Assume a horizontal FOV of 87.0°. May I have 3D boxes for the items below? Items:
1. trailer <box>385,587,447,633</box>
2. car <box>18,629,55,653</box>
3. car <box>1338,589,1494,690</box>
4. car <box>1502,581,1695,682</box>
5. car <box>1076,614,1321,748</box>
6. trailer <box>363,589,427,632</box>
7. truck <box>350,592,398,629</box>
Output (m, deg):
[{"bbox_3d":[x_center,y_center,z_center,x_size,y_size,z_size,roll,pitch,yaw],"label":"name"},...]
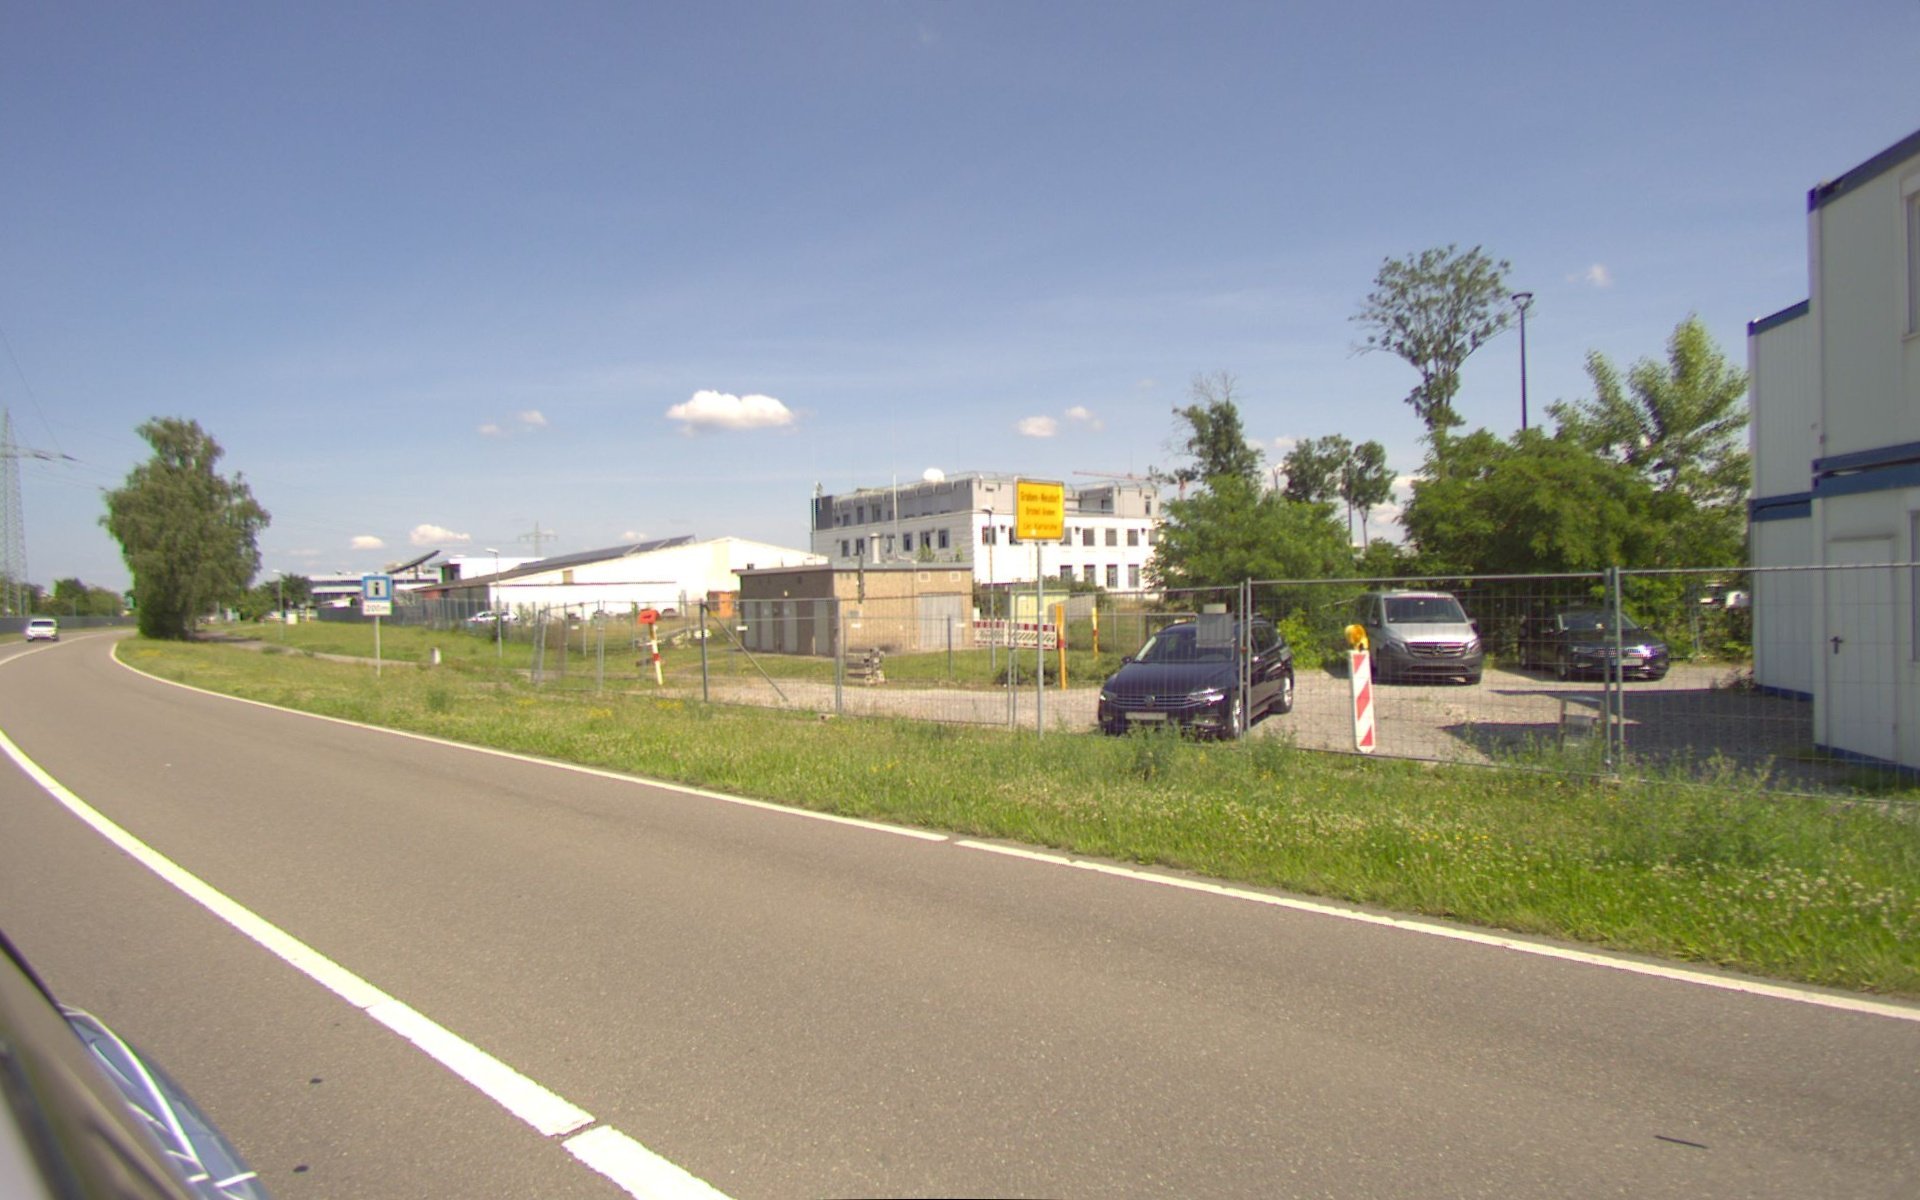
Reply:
[{"bbox_3d":[-46.138,0.850,85.640,3.355,3.672,8.677,0,0,-37],"label":"trailer"},{"bbox_3d":[-73.848,3.241,80.971,1.808,1.820,4.840,0,-1,-38],"label":"car"},{"bbox_3d":[9.794,0.759,22.187,1.979,1.880,5.004,-2,1,11],"label":"car"},{"bbox_3d":[13.324,0.581,21.456,1.979,1.880,4.299,-2,1,11],"label":"car"},{"bbox_3d":[3.620,1.013,14.555,1.993,1.427,4.932,-2,0,31],"label":"car"},{"bbox_3d":[-53.256,0.974,95.050,3.247,3.672,14.957,0,0,-37],"label":"trailer"},{"bbox_3d":[-60.984,1.109,105.217,3.061,3.672,10.617,0,0,-37],"label":"truck"}]
